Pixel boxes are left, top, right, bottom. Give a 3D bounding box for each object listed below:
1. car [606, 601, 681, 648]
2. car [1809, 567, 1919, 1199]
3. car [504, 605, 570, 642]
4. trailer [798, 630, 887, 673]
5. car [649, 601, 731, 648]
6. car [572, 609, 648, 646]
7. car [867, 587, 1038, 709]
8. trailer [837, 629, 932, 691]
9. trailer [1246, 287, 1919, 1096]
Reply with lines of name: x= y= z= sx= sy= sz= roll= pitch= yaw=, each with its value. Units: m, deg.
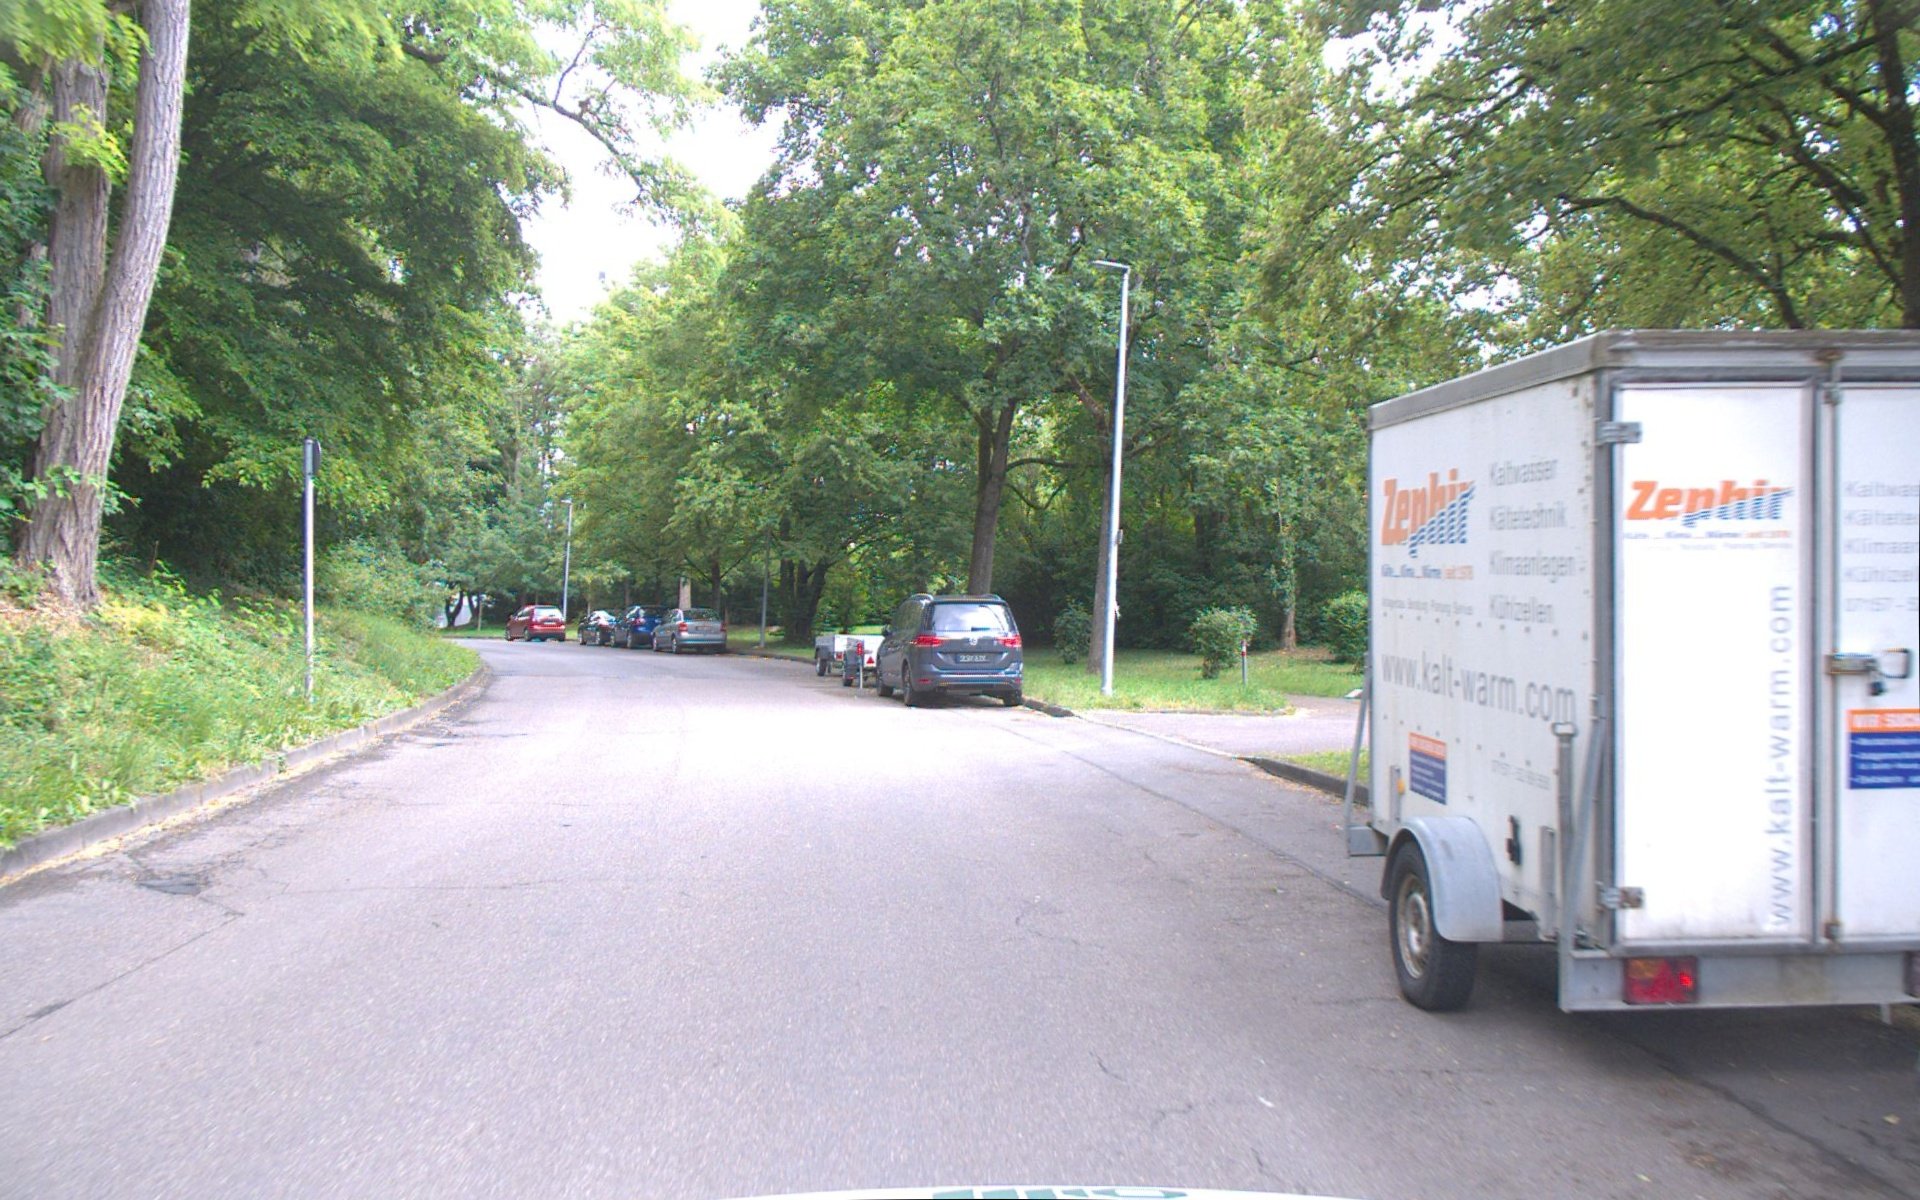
car: x=-11.428 y=0.892 z=59.532 sx=1.692 sy=1.536 sz=4.148 roll=3 pitch=-2 yaw=-25
car: x=2.996 y=0.692 z=1.633 sx=1.707 sy=1.552 sz=4.632 roll=0 pitch=0 yaw=-4
car: x=-18.774 y=1.048 z=73.254 sx=1.722 sy=1.590 sz=3.955 roll=1 pitch=-2 yaw=-32
trailer: x=-2.631 y=1.135 z=36.638 sx=1.341 sy=0.862 sz=3.265 roll=3 pitch=-2 yaw=-15
car: x=-8.731 y=0.792 z=53.284 sx=1.695 sy=1.457 sz=3.919 roll=0 pitch=-1 yaw=-24
car: x=-13.524 y=1.047 z=63.773 sx=1.730 sy=1.360 sz=4.375 roll=2 pitch=-1 yaw=-28
car: x=-0.233 y=0.717 z=26.042 sx=1.744 sy=1.692 sz=4.826 roll=2 pitch=-1 yaw=-11
trailer: x=-1.511 y=1.123 z=31.988 sx=1.332 sy=0.986 sz=3.883 roll=3 pitch=0 yaw=-10
trailer: x=2.550 y=0.282 z=7.059 sx=1.726 sy=2.469 sz=3.883 roll=0 pitch=0 yaw=-4
